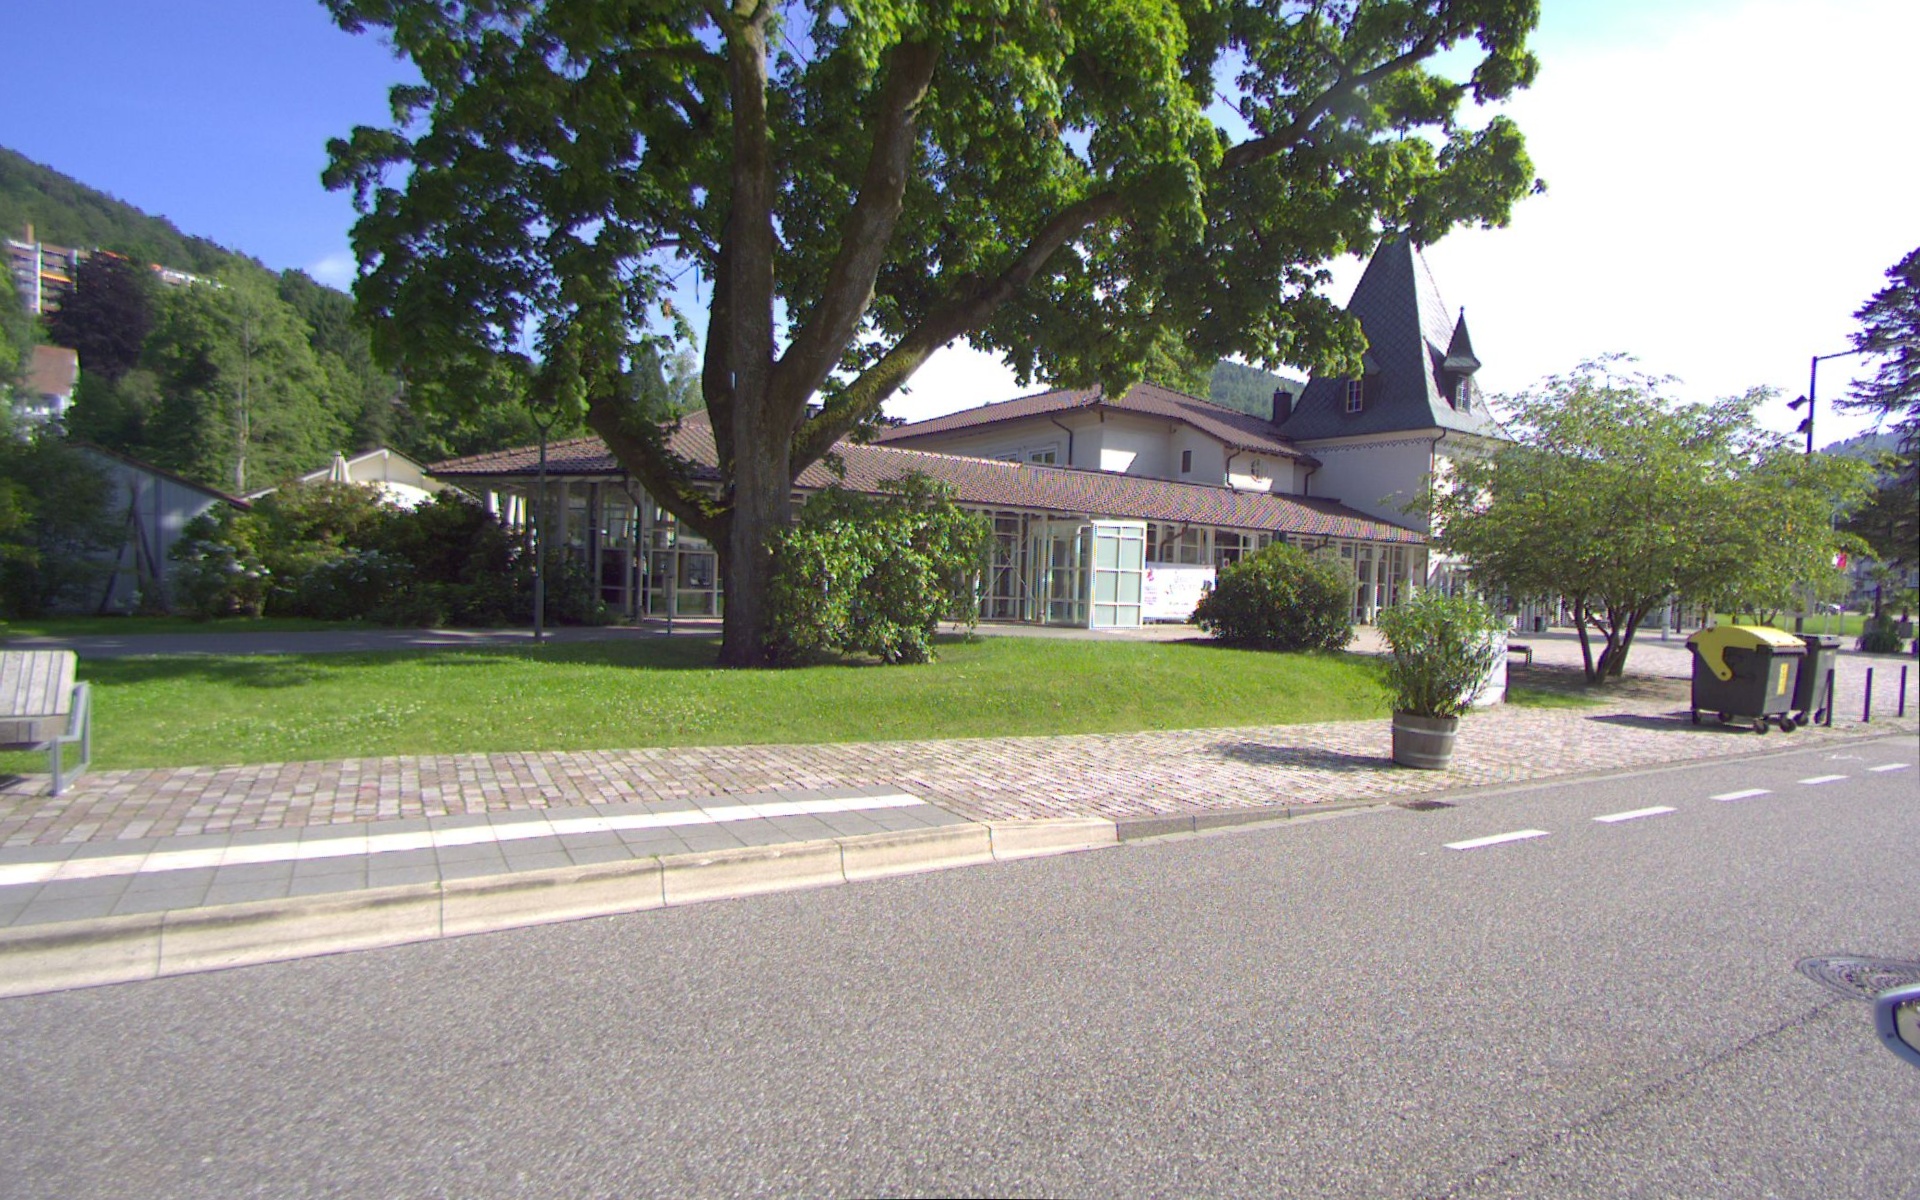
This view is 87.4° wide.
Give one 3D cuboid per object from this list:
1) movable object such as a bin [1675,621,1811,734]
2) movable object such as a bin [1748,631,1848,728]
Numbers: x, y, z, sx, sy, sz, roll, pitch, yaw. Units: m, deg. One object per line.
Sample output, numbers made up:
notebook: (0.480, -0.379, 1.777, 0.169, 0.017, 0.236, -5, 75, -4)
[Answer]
movable object such as a bin: (11.288, 1.080, 14.490, 1.362, 1.446, 1.072, 1, 4, -33)
movable object such as a bin: (12.898, 1.195, 15.459, 1.281, 1.360, 0.750, 1, 4, -33)
